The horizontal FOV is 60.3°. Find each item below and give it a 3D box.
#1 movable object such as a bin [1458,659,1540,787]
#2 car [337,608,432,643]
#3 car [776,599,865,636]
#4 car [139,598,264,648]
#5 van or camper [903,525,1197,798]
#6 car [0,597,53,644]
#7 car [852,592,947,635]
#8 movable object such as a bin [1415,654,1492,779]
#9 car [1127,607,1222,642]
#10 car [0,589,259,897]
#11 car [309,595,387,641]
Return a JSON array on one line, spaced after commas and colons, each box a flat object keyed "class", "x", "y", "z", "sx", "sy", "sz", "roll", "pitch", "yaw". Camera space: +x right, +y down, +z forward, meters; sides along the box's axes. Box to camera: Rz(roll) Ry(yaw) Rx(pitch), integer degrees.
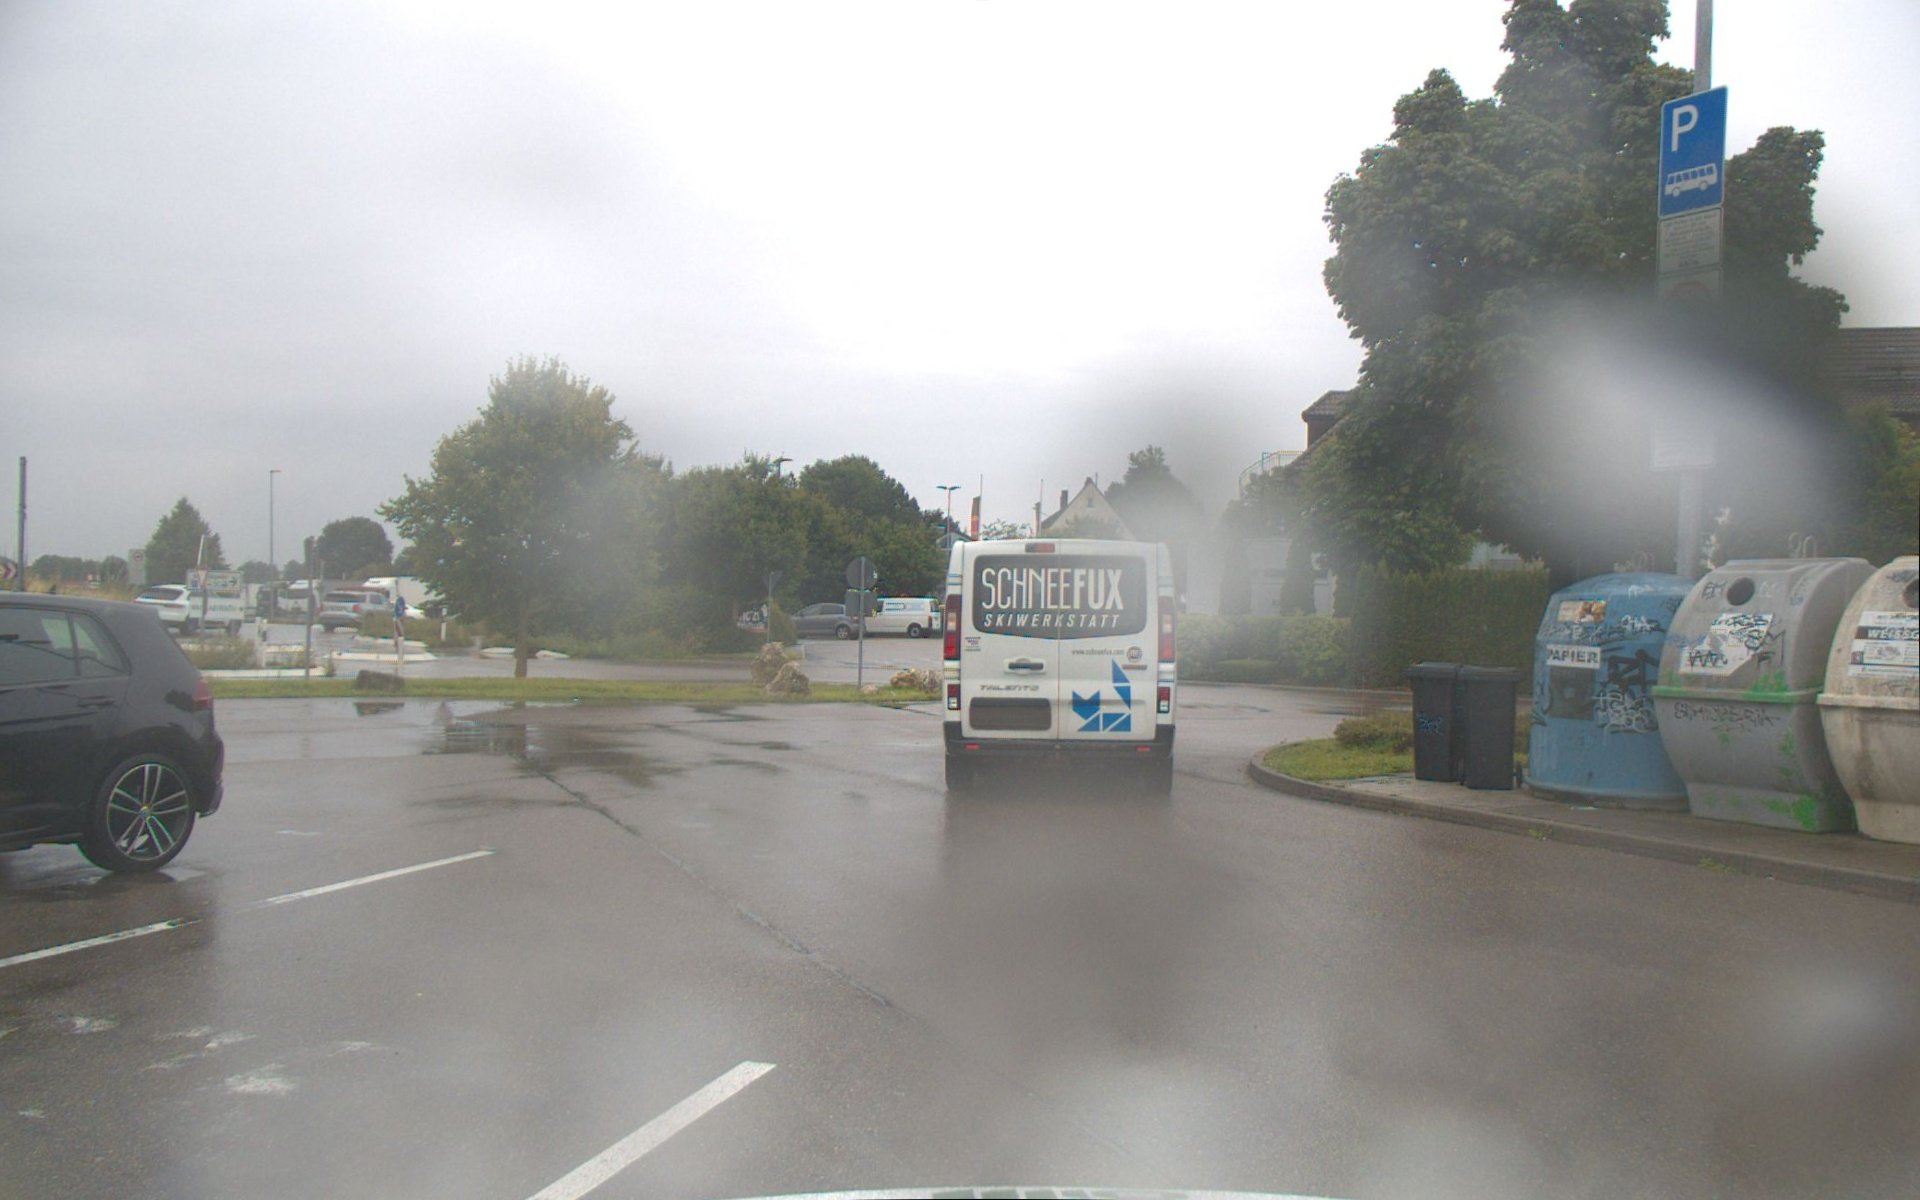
[{"class": "movable object such as a bin", "x": 4.103, "y": 0.929, "z": 12.616, "sx": 0.440, "sy": 0.933, "sz": 0.488, "roll": 0, "pitch": 0, "yaw": -5}, {"class": "car", "x": -29.836, "y": 1.313, "z": 85.840, "sx": 1.720, "sy": 1.789, "sz": 4.334, "roll": -1, "pitch": -1, "yaw": 45}, {"class": "car", "x": -6.200, "y": 0.772, "z": 73.401, "sx": 3.652, "sy": 1.578, "sz": 1.452, "roll": 0, "pitch": 0, "yaw": 14}, {"class": "car", "x": -25.609, "y": 0.735, "z": 55.995, "sx": 1.652, "sy": 1.612, "sz": 4.390, "roll": 0, "pitch": 0, "yaw": 10}, {"class": "van or camper", "x": 0.894, "y": 0.486, "z": 14.720, "sx": 2.141, "sy": 1.979, "sz": 5.200, "roll": 0, "pitch": -1, "yaw": 5}, {"class": "car", "x": -28.617, "y": 0.597, "z": 47.776, "sx": 1.655, "sy": 1.349, "sz": 4.040, "roll": 0, "pitch": 0, "yaw": 25}, {"class": "car", "x": -3.019, "y": 0.658, "z": 82.874, "sx": 4.424, "sy": 2.069, "sz": 1.646, "roll": 0, "pitch": 0, "yaw": 15}, {"class": "movable object such as a bin", "x": 3.912, "y": 0.914, "z": 13.135, "sx": 0.440, "sy": 0.955, "sz": 0.488, "roll": 0, "pitch": 0, "yaw": -5}, {"class": "car", "x": 9.741, "y": 1.107, "z": 75.041, "sx": 4.086, "sy": 1.524, "sz": 1.719, "roll": 0, "pitch": 0, "yaw": 14}, {"class": "car", "x": -5.546, "y": 0.671, "z": 7.734, "sx": 1.738, "sy": 1.458, "sz": 4.075, "roll": 0, "pitch": 0, "yaw": 25}, {"class": "car", "x": -26.204, "y": 0.734, "z": 71.003, "sx": 1.955, "sy": 1.906, "sz": 4.640, "roll": 0, "pitch": 0, "yaw": -5}]
